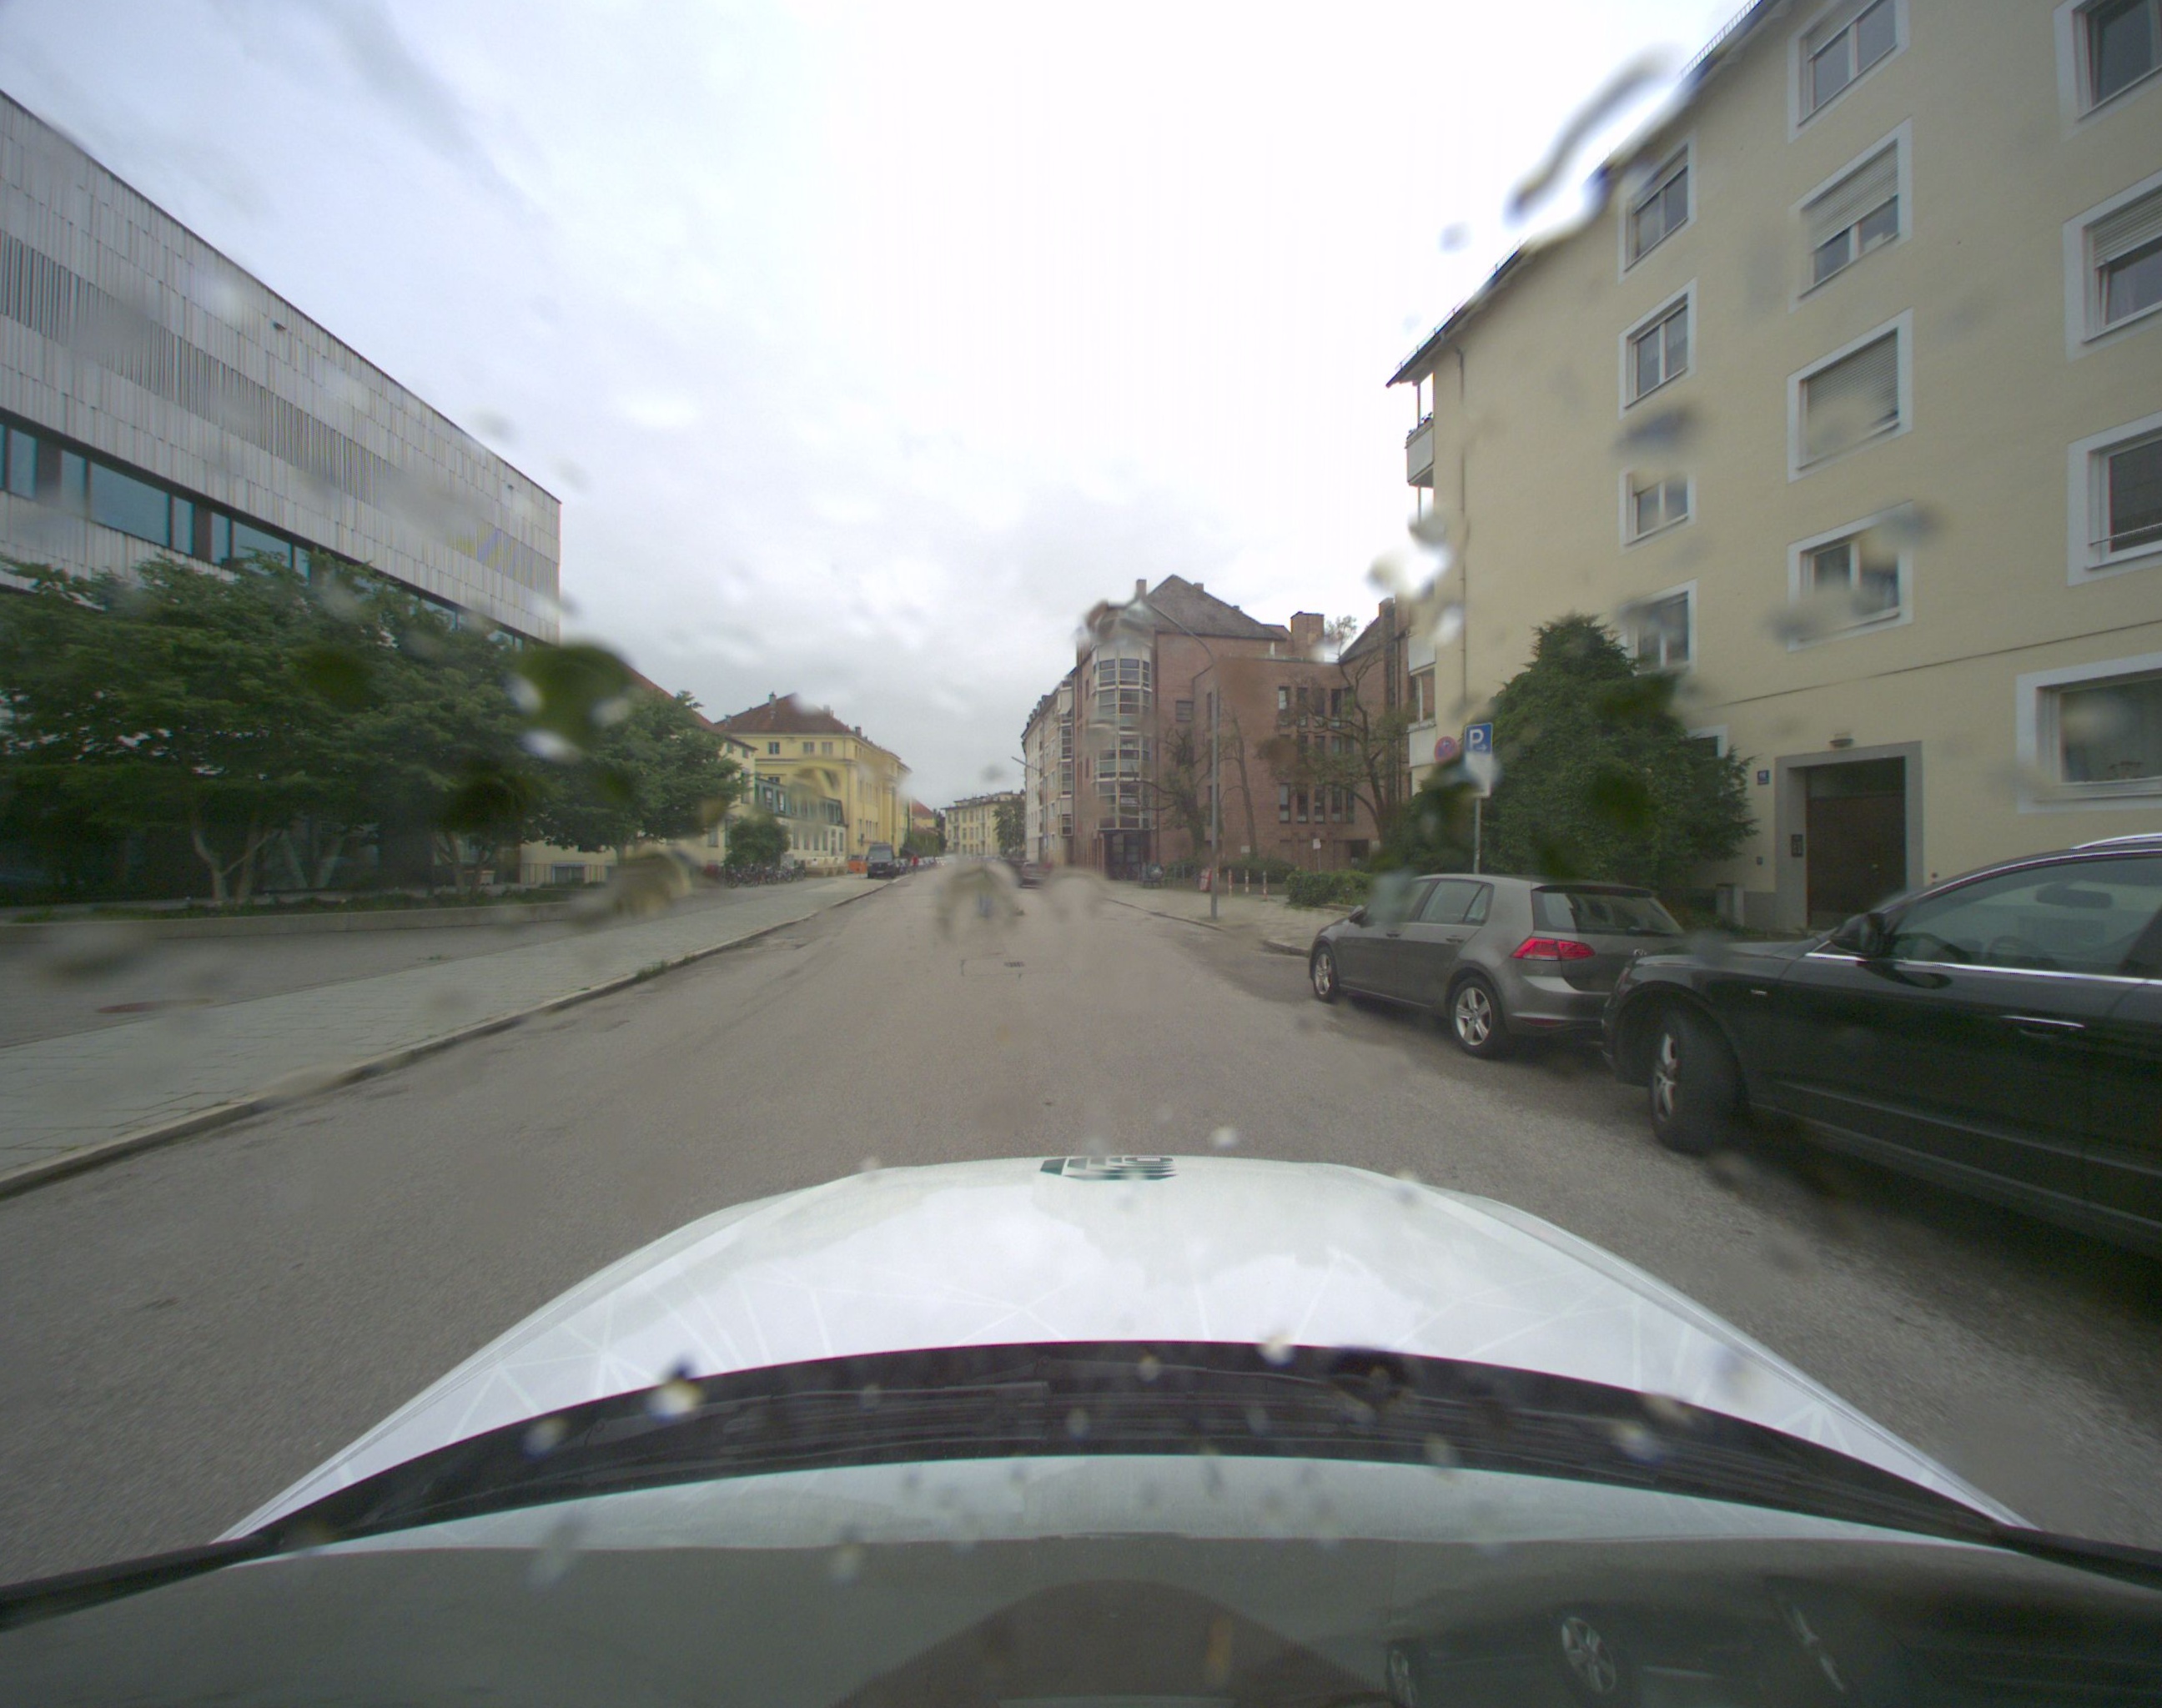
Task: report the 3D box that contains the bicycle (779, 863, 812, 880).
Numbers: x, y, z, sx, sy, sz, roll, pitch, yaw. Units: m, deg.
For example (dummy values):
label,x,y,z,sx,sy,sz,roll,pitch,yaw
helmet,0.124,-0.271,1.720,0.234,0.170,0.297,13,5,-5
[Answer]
label,x,y,z,sx,sy,sz,roll,pitch,yaw
bicycle,-18.762,1.142,53.462,1.898,1.092,0.678,2,0,0

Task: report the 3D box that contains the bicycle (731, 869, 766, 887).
label,x,y,z,sx,sy,sz,roll,pitch,yaw
bicycle,-18.261,1.301,44.762,1.669,0.916,0.595,2,0,0

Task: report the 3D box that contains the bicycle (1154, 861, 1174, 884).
label,x,y,z,sx,sy,sz,roll,pitch,yaw
bicycle,4.426,0.988,43.405,0.416,1.173,1.370,2,0,35

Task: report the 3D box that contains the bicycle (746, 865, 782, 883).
label,x,y,z,sx,sy,sz,roll,pitch,yaw
bicycle,-18.593,1.172,47.739,1.860,1.029,0.540,2,0,0

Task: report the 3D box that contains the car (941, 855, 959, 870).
label,x,y,z,sx,sy,sz,roll,pitch,yaw
car,-16.011,1.035,99.595,2.025,1.621,4.492,-2,-1,-8

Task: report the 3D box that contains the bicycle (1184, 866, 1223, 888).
label,x,y,z,sx,sy,sz,roll,pitch,yaw
bicycle,5.643,1.055,37.570,1.700,0.965,0.544,2,0,-9

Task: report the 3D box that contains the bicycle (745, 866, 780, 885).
label,x,y,z,sx,sy,sz,roll,pitch,yaw
bicycle,-18.142,1.232,46.394,1.784,1.033,0.507,2,0,0

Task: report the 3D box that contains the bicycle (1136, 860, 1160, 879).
label,x,y,z,sx,sy,sz,roll,pitch,yaw
bicycle,4.206,0.985,51.337,1.473,1.147,0.382,2,0,-4

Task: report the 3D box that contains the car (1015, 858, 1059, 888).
label,x,y,z,sx,sy,sz,roll,pitch,yaw
car,-2.464,1.010,44.517,1.924,1.512,4.378,2,0,-9

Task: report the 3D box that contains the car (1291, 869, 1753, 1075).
label,x,y,z,sx,sy,sz,roll,pitch,yaw
car,3.641,0.863,7.681,1.754,1.396,4.032,2,-1,-9

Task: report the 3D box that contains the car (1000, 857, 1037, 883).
label,x,y,z,sx,sy,sz,roll,pitch,yaw
car,-4.262,1.032,55.043,1.832,1.602,4.248,2,1,-13

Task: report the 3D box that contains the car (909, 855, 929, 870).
label,x,y,z,sx,sy,sz,roll,pitch,yaw
car,-17.772,0.907,89.313,1.770,1.550,3.770,2,1,-7

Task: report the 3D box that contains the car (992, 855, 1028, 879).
label,x,y,z,sx,sy,sz,roll,pitch,yaw
car,-5.247,0.926,59.874,1.966,1.602,4.651,2,1,-13

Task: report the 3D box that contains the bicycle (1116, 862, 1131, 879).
label,x,y,z,sx,sy,sz,roll,pitch,yaw
bicycle,2.714,1.074,52.308,0.486,1.060,1.987,2,-1,-11

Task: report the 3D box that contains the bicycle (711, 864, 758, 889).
label,x,y,z,sx,sy,sz,roll,pitch,yaw
bicycle,-18.233,1.162,42.894,2.097,1.227,0.787,2,0,0

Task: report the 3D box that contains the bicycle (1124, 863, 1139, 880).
label,x,y,z,sx,sy,sz,roll,pitch,yaw
bicycle,3.235,1.109,52.443,0.486,1.060,1.988,2,0,-11

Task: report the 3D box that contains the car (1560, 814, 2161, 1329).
label,x,y,z,sx,sy,sz,roll,pitch,yaw
car,4.083,0.686,3.015,1.656,1.566,4.506,2,-1,-5

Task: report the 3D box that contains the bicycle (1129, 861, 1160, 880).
label,x,y,z,sx,sy,sz,roll,pitch,yaw
bicycle,3.939,1.046,50.872,1.844,1.147,0.487,2,0,-4

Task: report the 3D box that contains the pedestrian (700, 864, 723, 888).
label,x,y,z,sx,sy,sz,roll,pitch,yaw
pedestrian,-18.607,1.118,41.059,0.717,1.163,1.039,2,0,-4

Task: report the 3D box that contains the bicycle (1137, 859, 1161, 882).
label,x,y,z,sx,sy,sz,roll,pitch,yaw
bicycle,3.721,0.912,45.069,0.535,1.248,2.401,2,-2,-15

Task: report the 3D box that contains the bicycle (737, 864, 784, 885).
label,x,y,z,sx,sy,sz,roll,pitch,yaw
bicycle,-18.526,1.165,47.041,2.545,1.206,0.424,0,0,0

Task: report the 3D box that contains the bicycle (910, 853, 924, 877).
label,x,y,z,sx,sy,sz,roll,pitch,yaw
bicycle,-14.364,0.960,71.242,0.746,2.013,2.844,-2,1,-3

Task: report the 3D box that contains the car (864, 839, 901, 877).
label,x,y,z,sx,sy,sz,roll,pitch,yaw
car,-15.260,0.346,62.941,2.422,2.715,5.930,-1,-1,-11

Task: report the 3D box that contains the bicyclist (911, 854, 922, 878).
label,x,y,z,sx,sy,sz,roll,pitch,yaw
bicyclist,-14.387,1.020,71.256,0.765,2.013,0.767,-3,1,-4

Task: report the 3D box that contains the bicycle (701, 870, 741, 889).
label,x,y,z,sx,sy,sz,roll,pitch,yaw
bicycle,-17.864,1.271,40.405,1.715,0.862,0.439,2,0,-3

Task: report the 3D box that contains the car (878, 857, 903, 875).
label,x,y,z,sx,sy,sz,roll,pitch,yaw
car,-16.515,1.020,70.656,1.697,1.453,3.732,2,1,-7

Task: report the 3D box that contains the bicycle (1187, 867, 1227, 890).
label,x,y,z,sx,sy,sz,roll,pitch,yaw
bicycle,5.723,1.105,36.936,1.700,0.965,0.544,2,0,-9

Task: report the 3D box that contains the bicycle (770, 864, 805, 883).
label,x,y,z,sx,sy,sz,roll,pitch,yaw
bicycle,-18.684,1.209,51.827,1.950,1.131,0.573,2,0,0

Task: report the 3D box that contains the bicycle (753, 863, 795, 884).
label,x,y,z,sx,sy,sz,roll,pitch,yaw
bicycle,-18.504,1.175,49.137,2.302,1.135,0.581,2,0,0

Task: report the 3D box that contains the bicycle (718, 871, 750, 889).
label,x,y,z,sx,sy,sz,roll,pitch,yaw
bicycle,-17.644,1.301,41.432,1.369,0.862,0.439,2,0,-3

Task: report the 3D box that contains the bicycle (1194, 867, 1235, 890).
label,x,y,z,sx,sy,sz,roll,pitch,yaw
bicycle,5.910,1.096,36.179,1.700,0.965,0.544,2,0,-9
